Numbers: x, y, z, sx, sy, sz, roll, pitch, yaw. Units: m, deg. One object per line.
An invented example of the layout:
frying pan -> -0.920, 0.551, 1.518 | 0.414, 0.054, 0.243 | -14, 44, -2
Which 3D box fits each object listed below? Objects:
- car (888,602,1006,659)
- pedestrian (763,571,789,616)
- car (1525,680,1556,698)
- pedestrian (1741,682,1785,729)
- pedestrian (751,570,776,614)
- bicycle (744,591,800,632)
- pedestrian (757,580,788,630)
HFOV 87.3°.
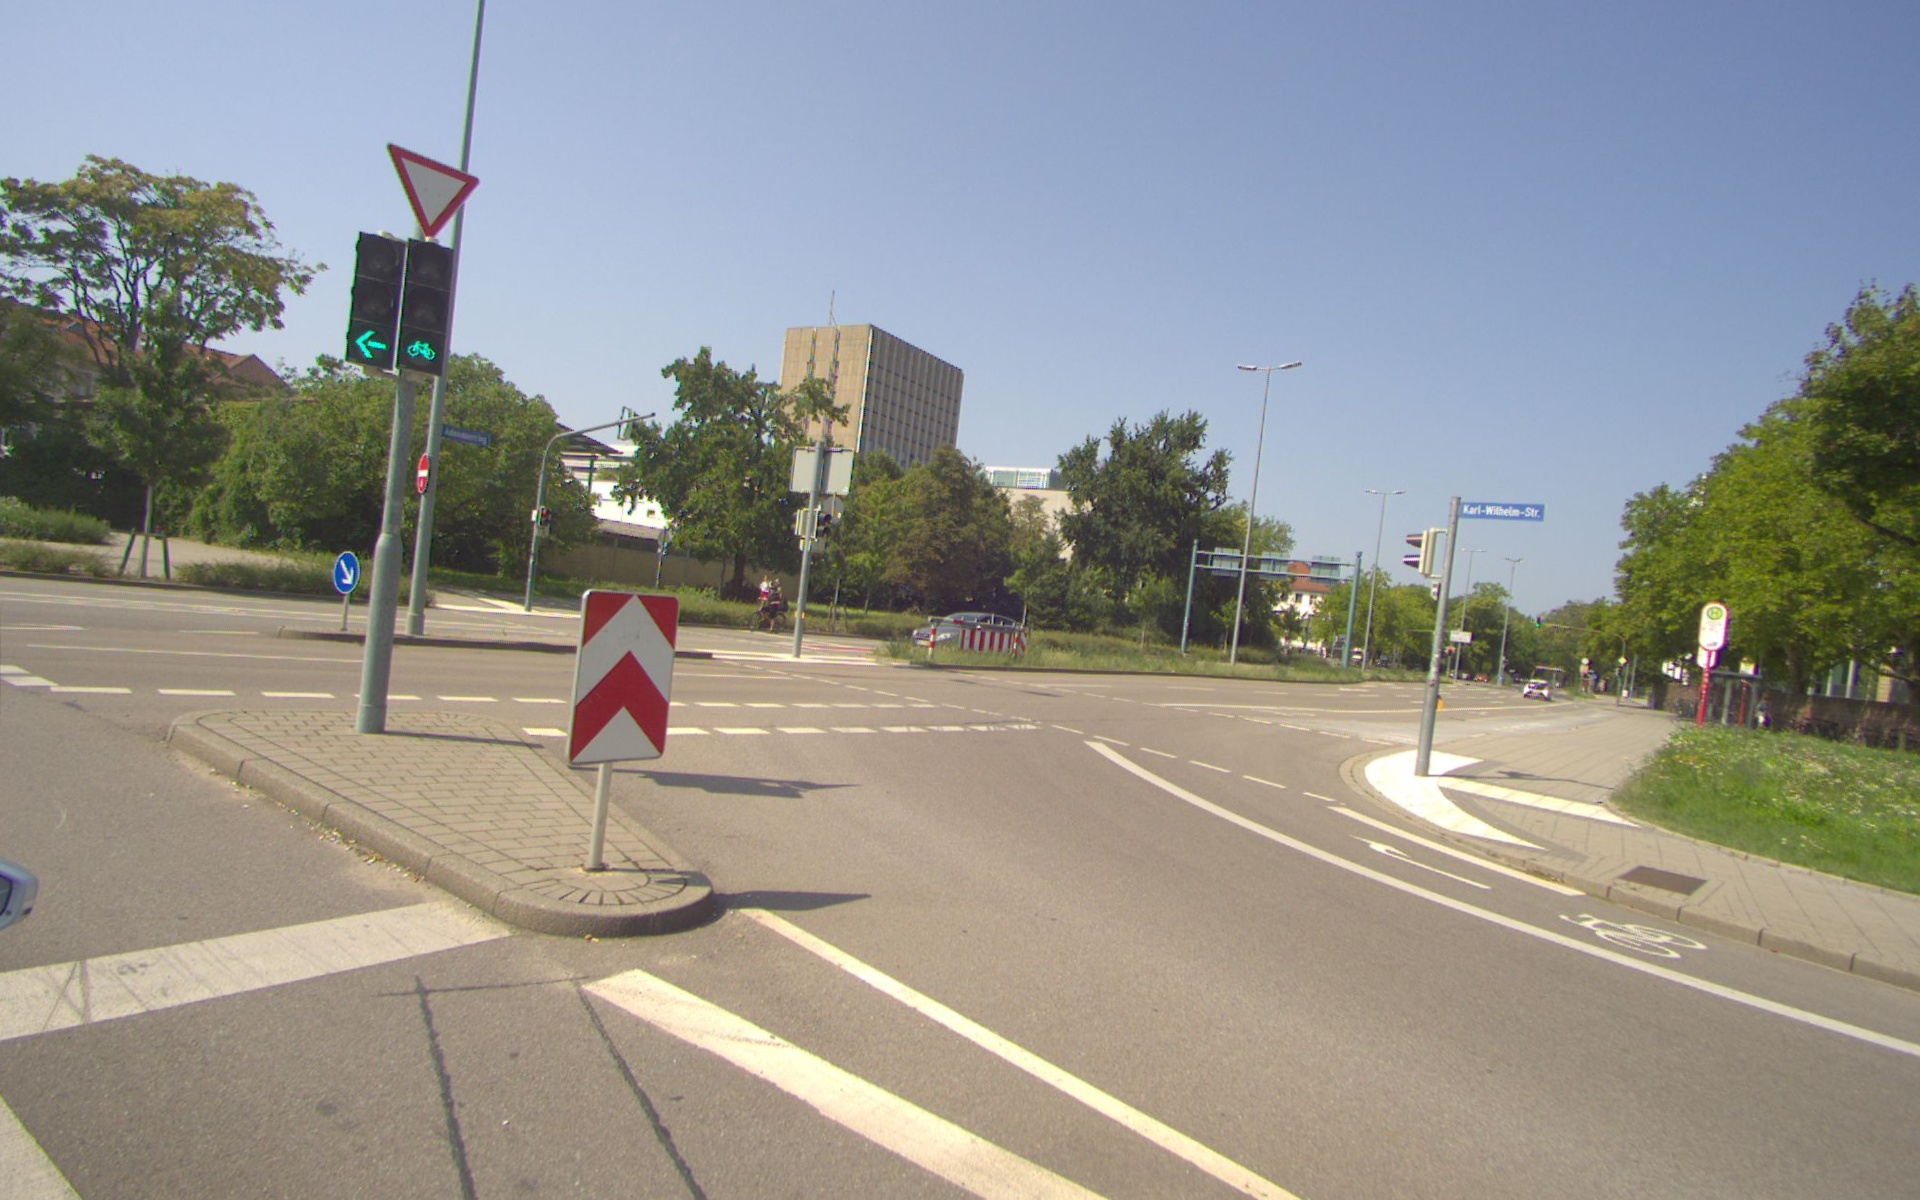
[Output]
car -> -0.344, 0.936, 30.200 | 1.765, 1.374, 3.412 | 5, -1, 37
pedestrian -> -7.832, -0.283, 42.776 | 0.683, 1.794, 0.585 | 8, 2, 38
car -> 43.837, 6.709, 75.941 | 1.566, 1.151, 3.251 | 8, 1, 37
pedestrian -> 39.281, 5.137, 49.236 | 1.052, 2.039, 1.234 | 7, 2, 14
pedestrian -> -8.445, -0.324, 43.183 | 0.683, 1.794, 0.585 | 8, 2, 38
bicycle -> -6.636, 0.413, 35.513 | 0.774, 1.228, 1.782 | 7, 1, 38
pedestrian -> -6.615, 0.177, 35.492 | 0.769, 1.690, 0.547 | 8, 2, 38
